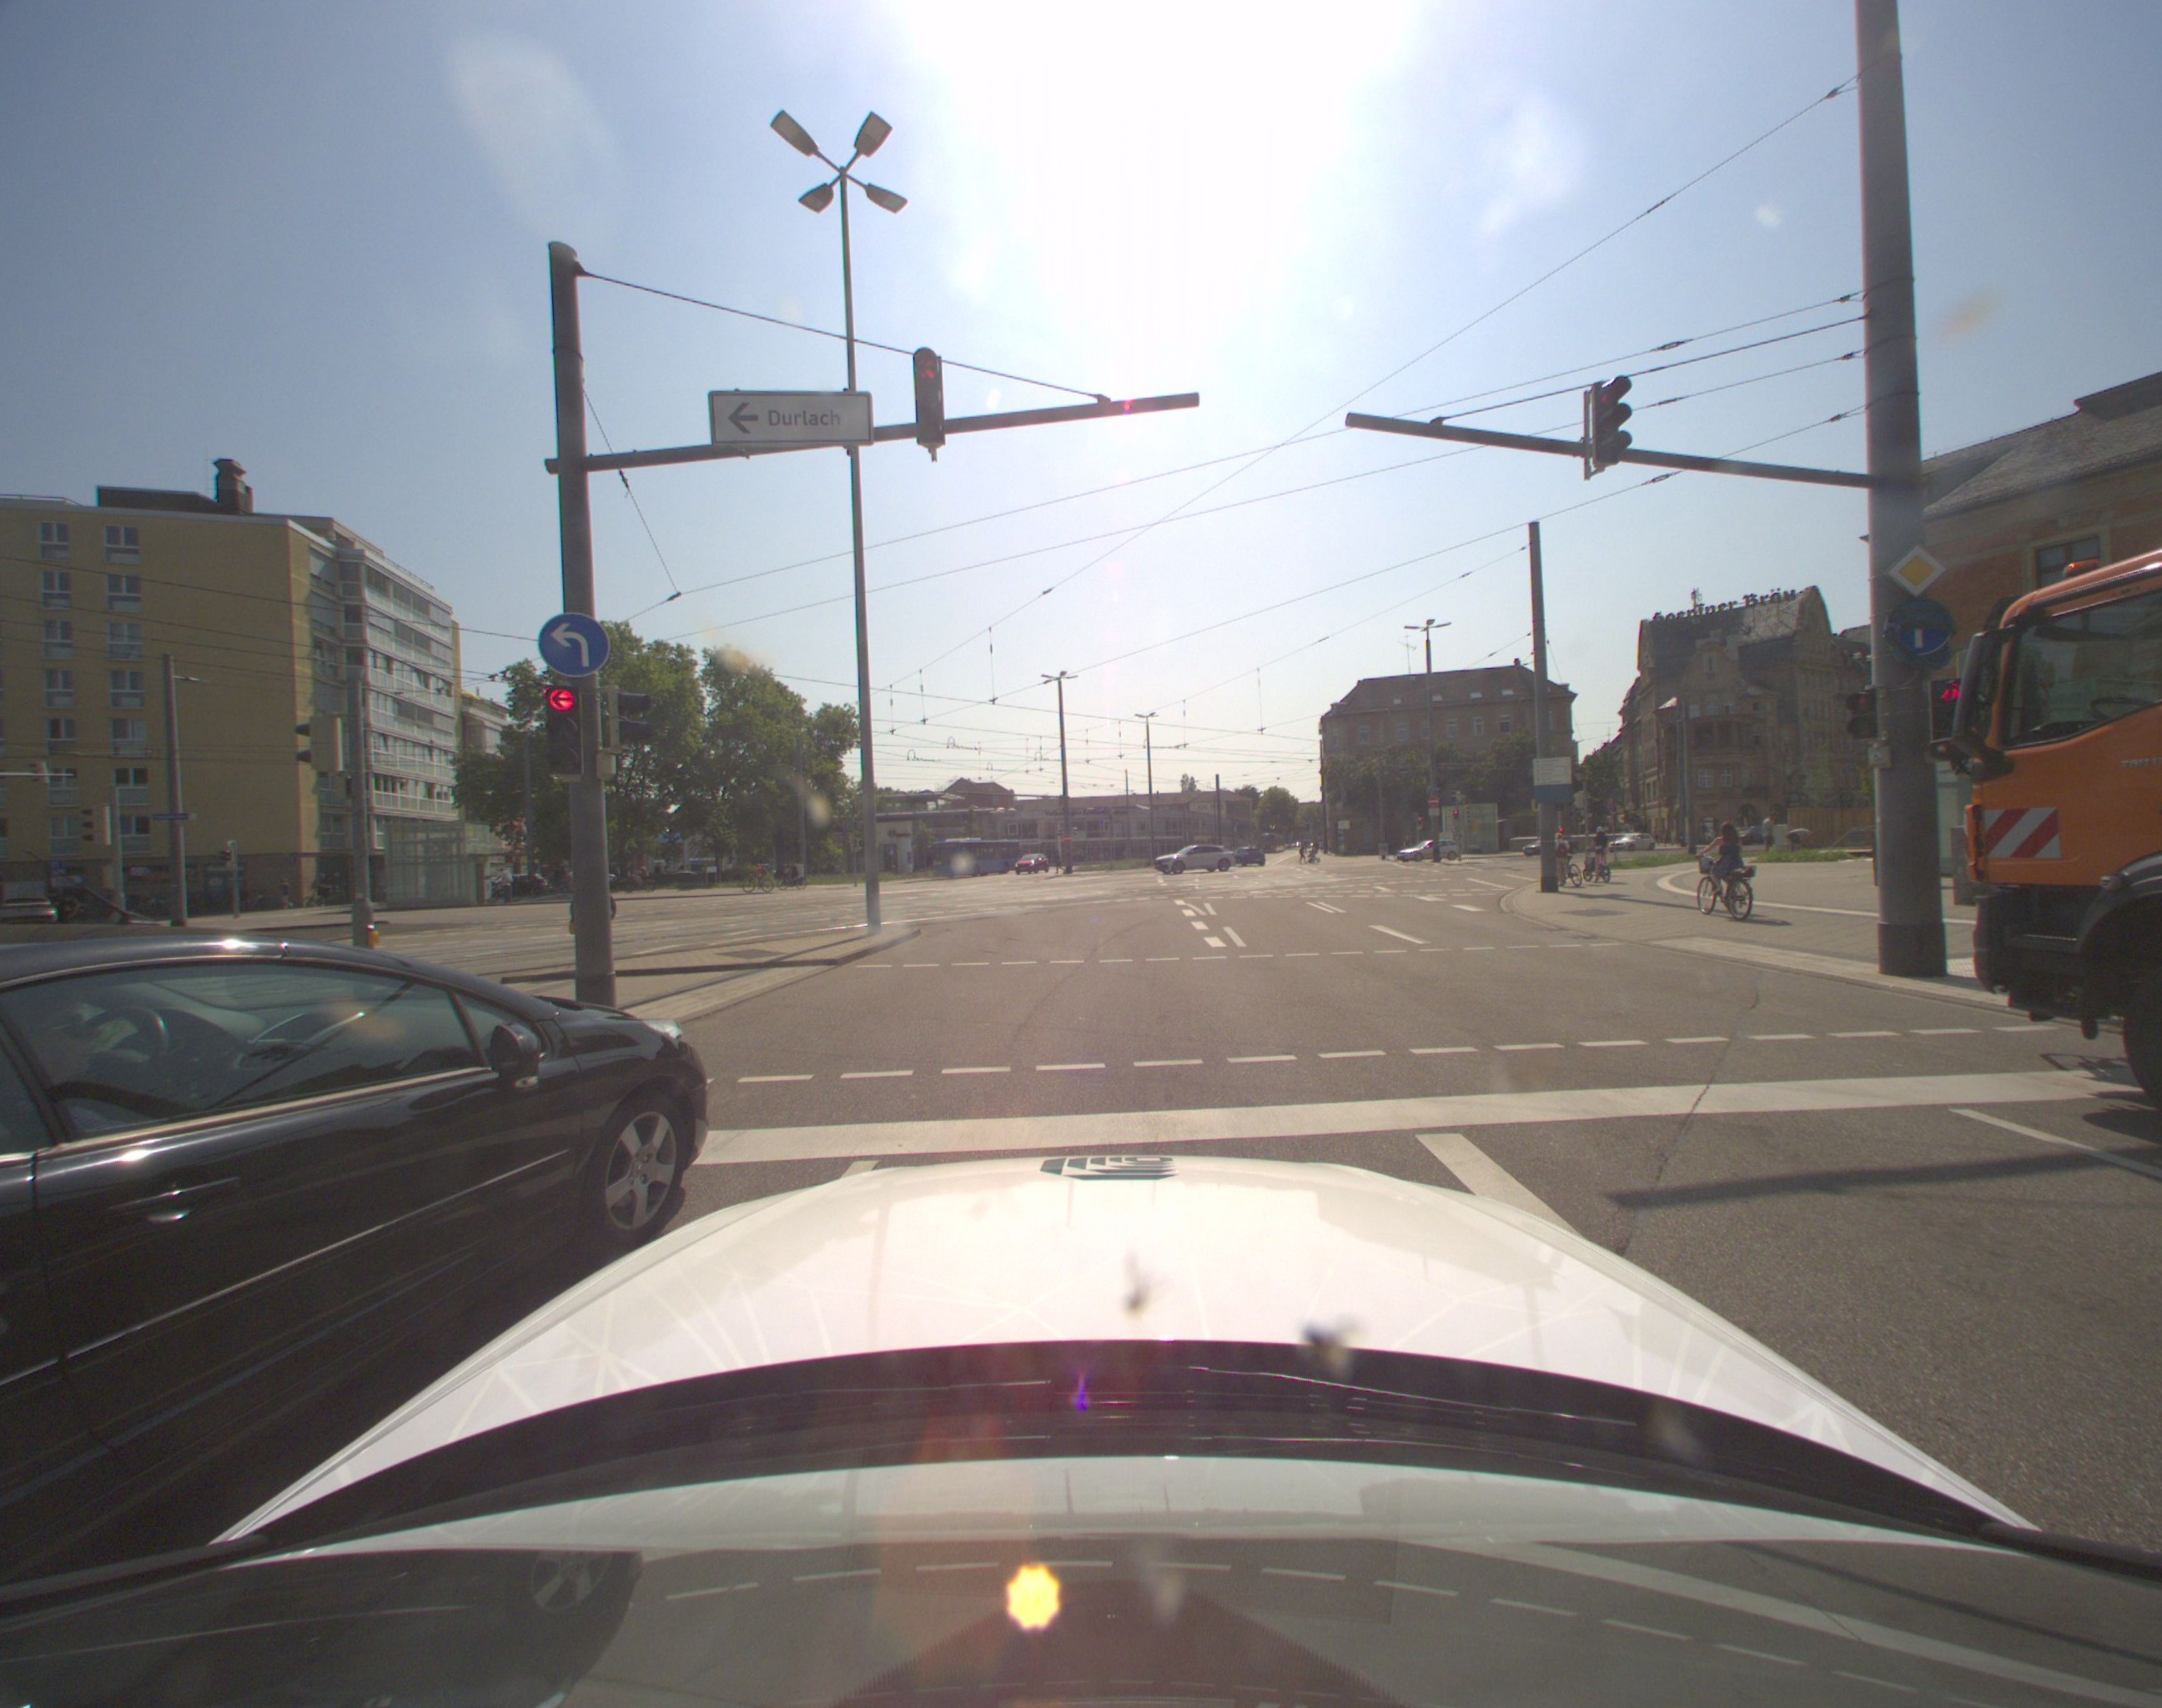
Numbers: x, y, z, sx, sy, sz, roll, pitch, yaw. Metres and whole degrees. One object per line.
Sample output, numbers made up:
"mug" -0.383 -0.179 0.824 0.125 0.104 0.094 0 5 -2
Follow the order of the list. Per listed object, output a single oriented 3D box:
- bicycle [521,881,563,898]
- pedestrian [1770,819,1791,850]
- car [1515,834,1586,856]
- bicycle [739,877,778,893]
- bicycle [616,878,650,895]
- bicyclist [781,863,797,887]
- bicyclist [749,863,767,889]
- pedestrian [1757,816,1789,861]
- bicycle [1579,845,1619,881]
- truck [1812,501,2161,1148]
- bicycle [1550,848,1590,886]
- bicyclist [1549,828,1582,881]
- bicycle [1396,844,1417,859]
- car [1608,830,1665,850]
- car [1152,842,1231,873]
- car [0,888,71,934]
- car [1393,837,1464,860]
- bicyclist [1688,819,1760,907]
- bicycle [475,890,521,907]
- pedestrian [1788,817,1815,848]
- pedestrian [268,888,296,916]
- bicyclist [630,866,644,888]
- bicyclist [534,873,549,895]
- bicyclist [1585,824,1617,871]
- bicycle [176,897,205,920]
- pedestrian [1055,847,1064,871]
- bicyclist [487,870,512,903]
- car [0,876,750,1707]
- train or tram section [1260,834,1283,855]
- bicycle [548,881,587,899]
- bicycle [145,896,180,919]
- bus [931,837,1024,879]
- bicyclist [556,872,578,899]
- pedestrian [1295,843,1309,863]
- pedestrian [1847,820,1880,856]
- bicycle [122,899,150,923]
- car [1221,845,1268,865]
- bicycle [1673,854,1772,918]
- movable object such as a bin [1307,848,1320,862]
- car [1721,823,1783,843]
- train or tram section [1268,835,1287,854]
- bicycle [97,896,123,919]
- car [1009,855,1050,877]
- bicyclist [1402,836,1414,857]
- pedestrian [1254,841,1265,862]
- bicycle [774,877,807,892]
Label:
"bicycle" -32.496 2.148 49.133 2.033 0.942 0.466 -2 0 -11
"pedestrian" 36.083 -1.000 42.001 0.794 1.575 0.729 -2 0 -44
"car" 34.453 -0.655 59.750 4.766 1.415 1.765 -2 0 -18
"bicycle" -19.040 1.816 48.051 2.049 0.802 0.478 -2 0 -11
"bicycle" -27.887 2.028 50.707 1.814 0.942 0.414 -2 0 -11
"bicyclist" -18.156 1.301 50.666 0.873 1.475 0.543 -2 0 -16
"bicyclist" -19.061 1.266 48.043 0.871 1.483 0.495 -2 0 -12
"pedestrian" 27.011 -0.590 31.788 0.549 1.724 0.812 -2 0 -39
"bicycle" 16.201 0.268 25.520 0.532 1.055 1.660 -2 0 14
"truck" 6.384 -0.145 2.488 2.481 3.134 6.868 0 0 4
"bicycle" 14.490 0.365 24.152 0.532 1.055 1.660 -2 0 14
"bicyclist" 14.510 0.015 24.405 0.623 1.517 0.715 -2 0 14
"bicycle" 24.206 -0.202 60.628 0.470 1.055 1.643 -2 0 -18
"car" 43.544 -1.079 63.828 4.207 1.415 1.762 -2 0 -24
"car" 6.645 0.199 49.115 4.332 1.618 1.744 -2 0 -17
"car" -48.437 2.614 37.721 3.949 1.925 1.815 -3 0 42
"car" 23.851 -0.384 55.963 4.172 1.415 1.771 -2 0 -8
"bicyclist" 11.486 0.153 14.569 0.730 1.517 0.664 -2 0 6
"bicycle" -32.471 2.459 45.346 2.049 0.802 0.478 -2 0 -11
"pedestrian" 28.910 -0.874 32.689 0.658 1.214 0.531 -2 0 30
"pedestrian" -45.955 2.767 46.846 0.859 1.543 0.738 -2 0 -22
"bicyclist" -27.636 1.423 50.676 0.544 1.293 0.557 -2 0 -10
"bicyclist" -32.530 1.799 49.080 0.544 1.293 0.557 -2 0 -10
"bicyclist" 16.077 -0.206 25.179 0.526 1.393 0.897 -2 0 14
"bicycle" -49.441 3.029 45.182 3.220 1.204 0.699 -3 0 36
"pedestrian" -1.574 0.381 59.277 0.554 1.684 0.451 -2 0 -17
"bicyclist" -32.377 1.814 45.355 0.924 1.808 0.495 -2 0 -11
"car" -2.681 0.818 2.142 1.757 1.388 3.787 -1 0 6
"train or tram section" 33.930 -1.636 144.702 2.567 3.516 10.953 -2 0 19
"bicycle" -29.923 2.076 47.448 1.817 0.942 0.565 -2 0 -16
"bicycle" -50.578 2.944 44.827 3.220 1.204 0.916 -3 0 36
"bus" -8.292 0.231 67.623 2.541 3.082 12.081 -3 0 19
"bicyclist" -29.930 1.822 47.437 0.911 1.508 0.556 -2 0 -14
"pedestrian" 17.398 -0.050 64.059 0.849 1.545 0.527 -2 0 -6
"pedestrian" 31.665 -0.649 32.959 0.768 1.399 0.687 -2 0 -24
"bicycle" -51.766 3.111 44.619 3.220 1.204 0.699 -3 0 36
"car" 12.154 0.096 60.829 1.596 1.394 3.973 -2 0 -19
"bicycle" 11.547 0.544 14.740 0.489 1.055 1.826 -2 0 6
"movable object such as a bin" 18.245 0.063 63.987 0.812 1.077 0.510 -2 0 -9
"car" 57.746 -1.810 70.077 4.625 1.505 1.987 -2 0 -19
"train or tram section" 37.333 -1.797 154.472 2.567 3.516 9.705 -2 0 19
"bicycle" -52.883 2.912 44.338 2.754 1.204 0.699 -3 0 36
"car" -4.040 0.953 64.296 1.735 1.552 4.020 -3 0 20
"bicyclist" 24.265 -0.563 60.454 0.614 1.528 0.517 -2 0 -22
"pedestrian" 14.112 -0.171 64.377 0.699 1.603 0.572 -2 0 -6
"bicycle" -18.072 1.890 50.670 1.860 0.802 0.604 -2 0 -17
